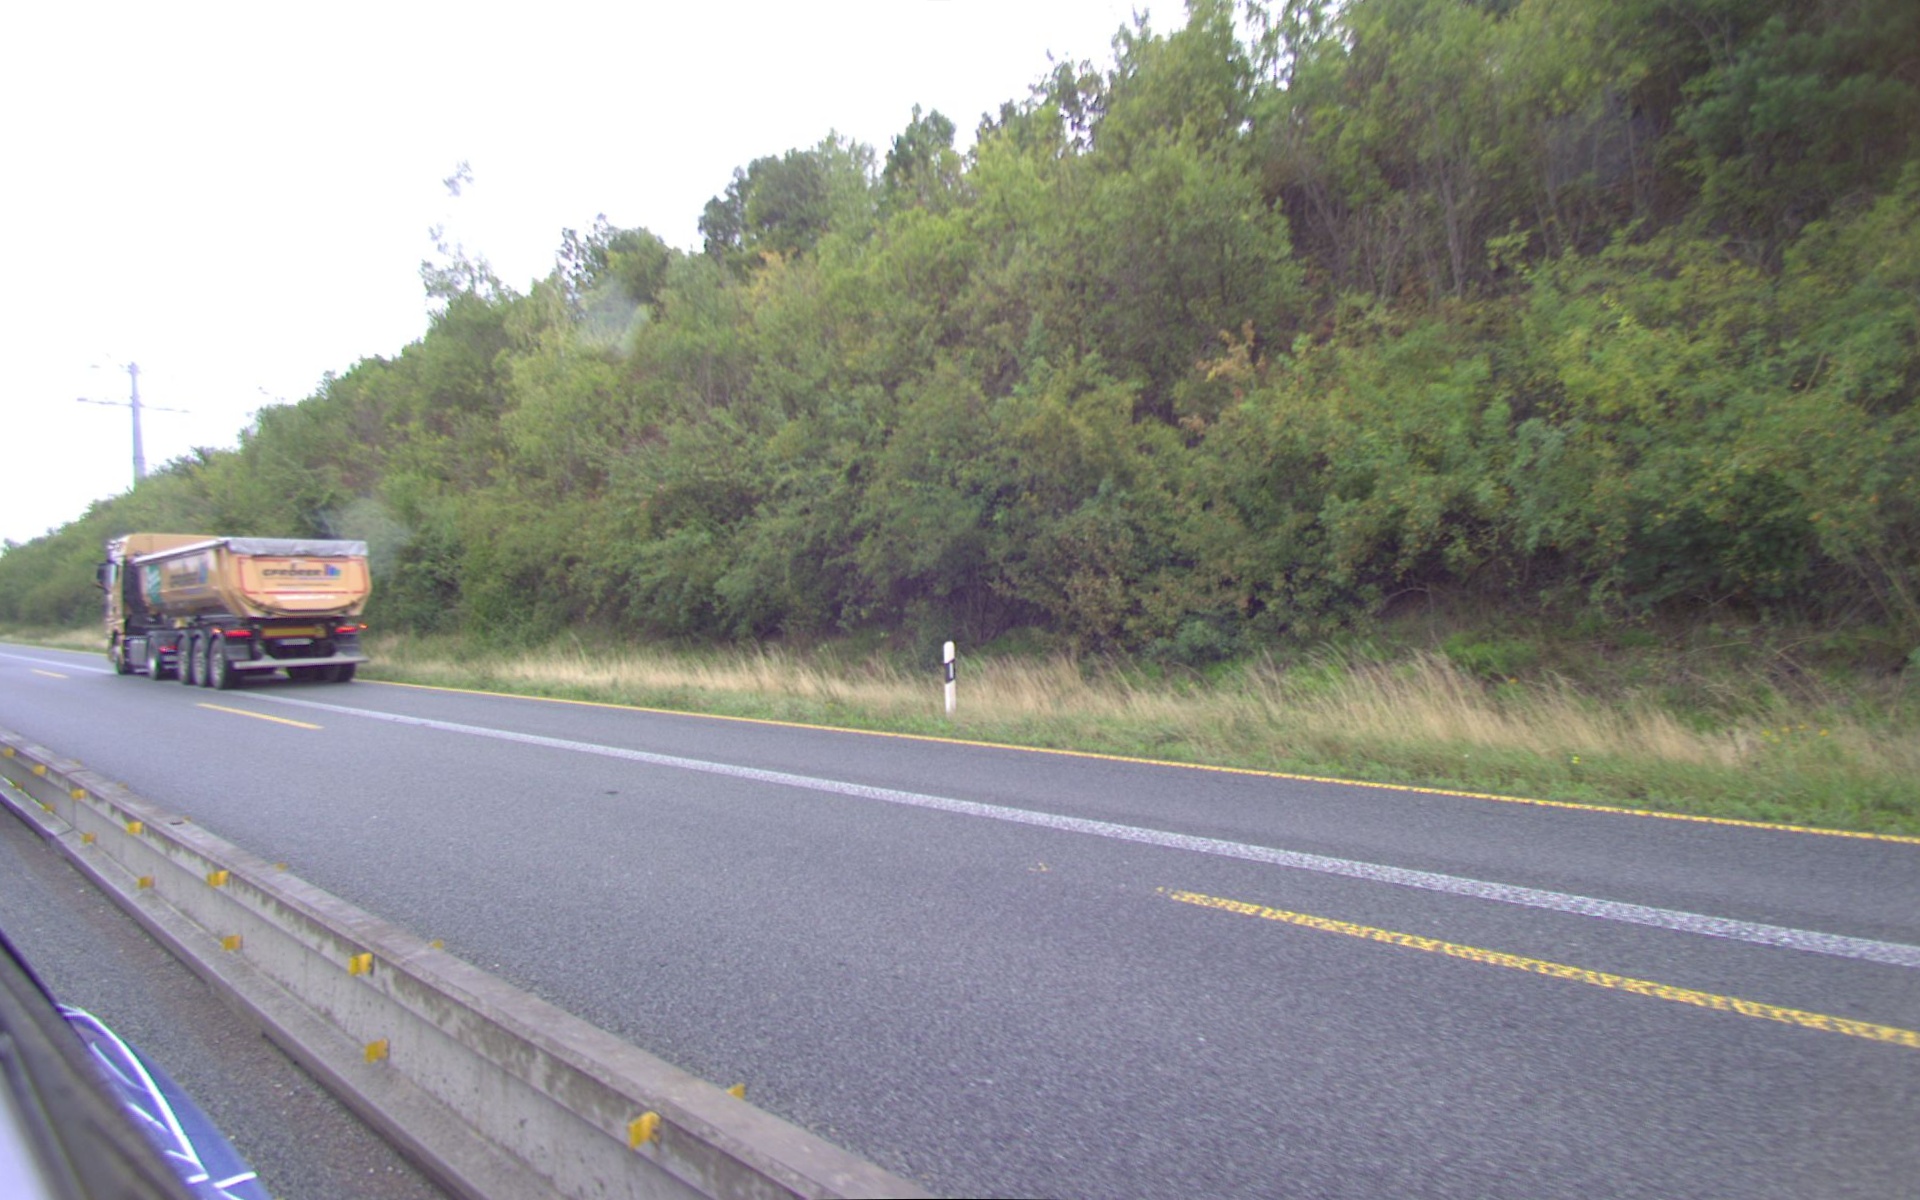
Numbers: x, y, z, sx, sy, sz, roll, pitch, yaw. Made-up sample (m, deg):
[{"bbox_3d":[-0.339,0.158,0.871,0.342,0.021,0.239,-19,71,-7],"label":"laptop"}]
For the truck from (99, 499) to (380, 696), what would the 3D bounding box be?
[{"bbox_3d":[-17.462,0.010,23.944,12.305,3.684,2.653,-1,0,41],"label":"truck"}]
